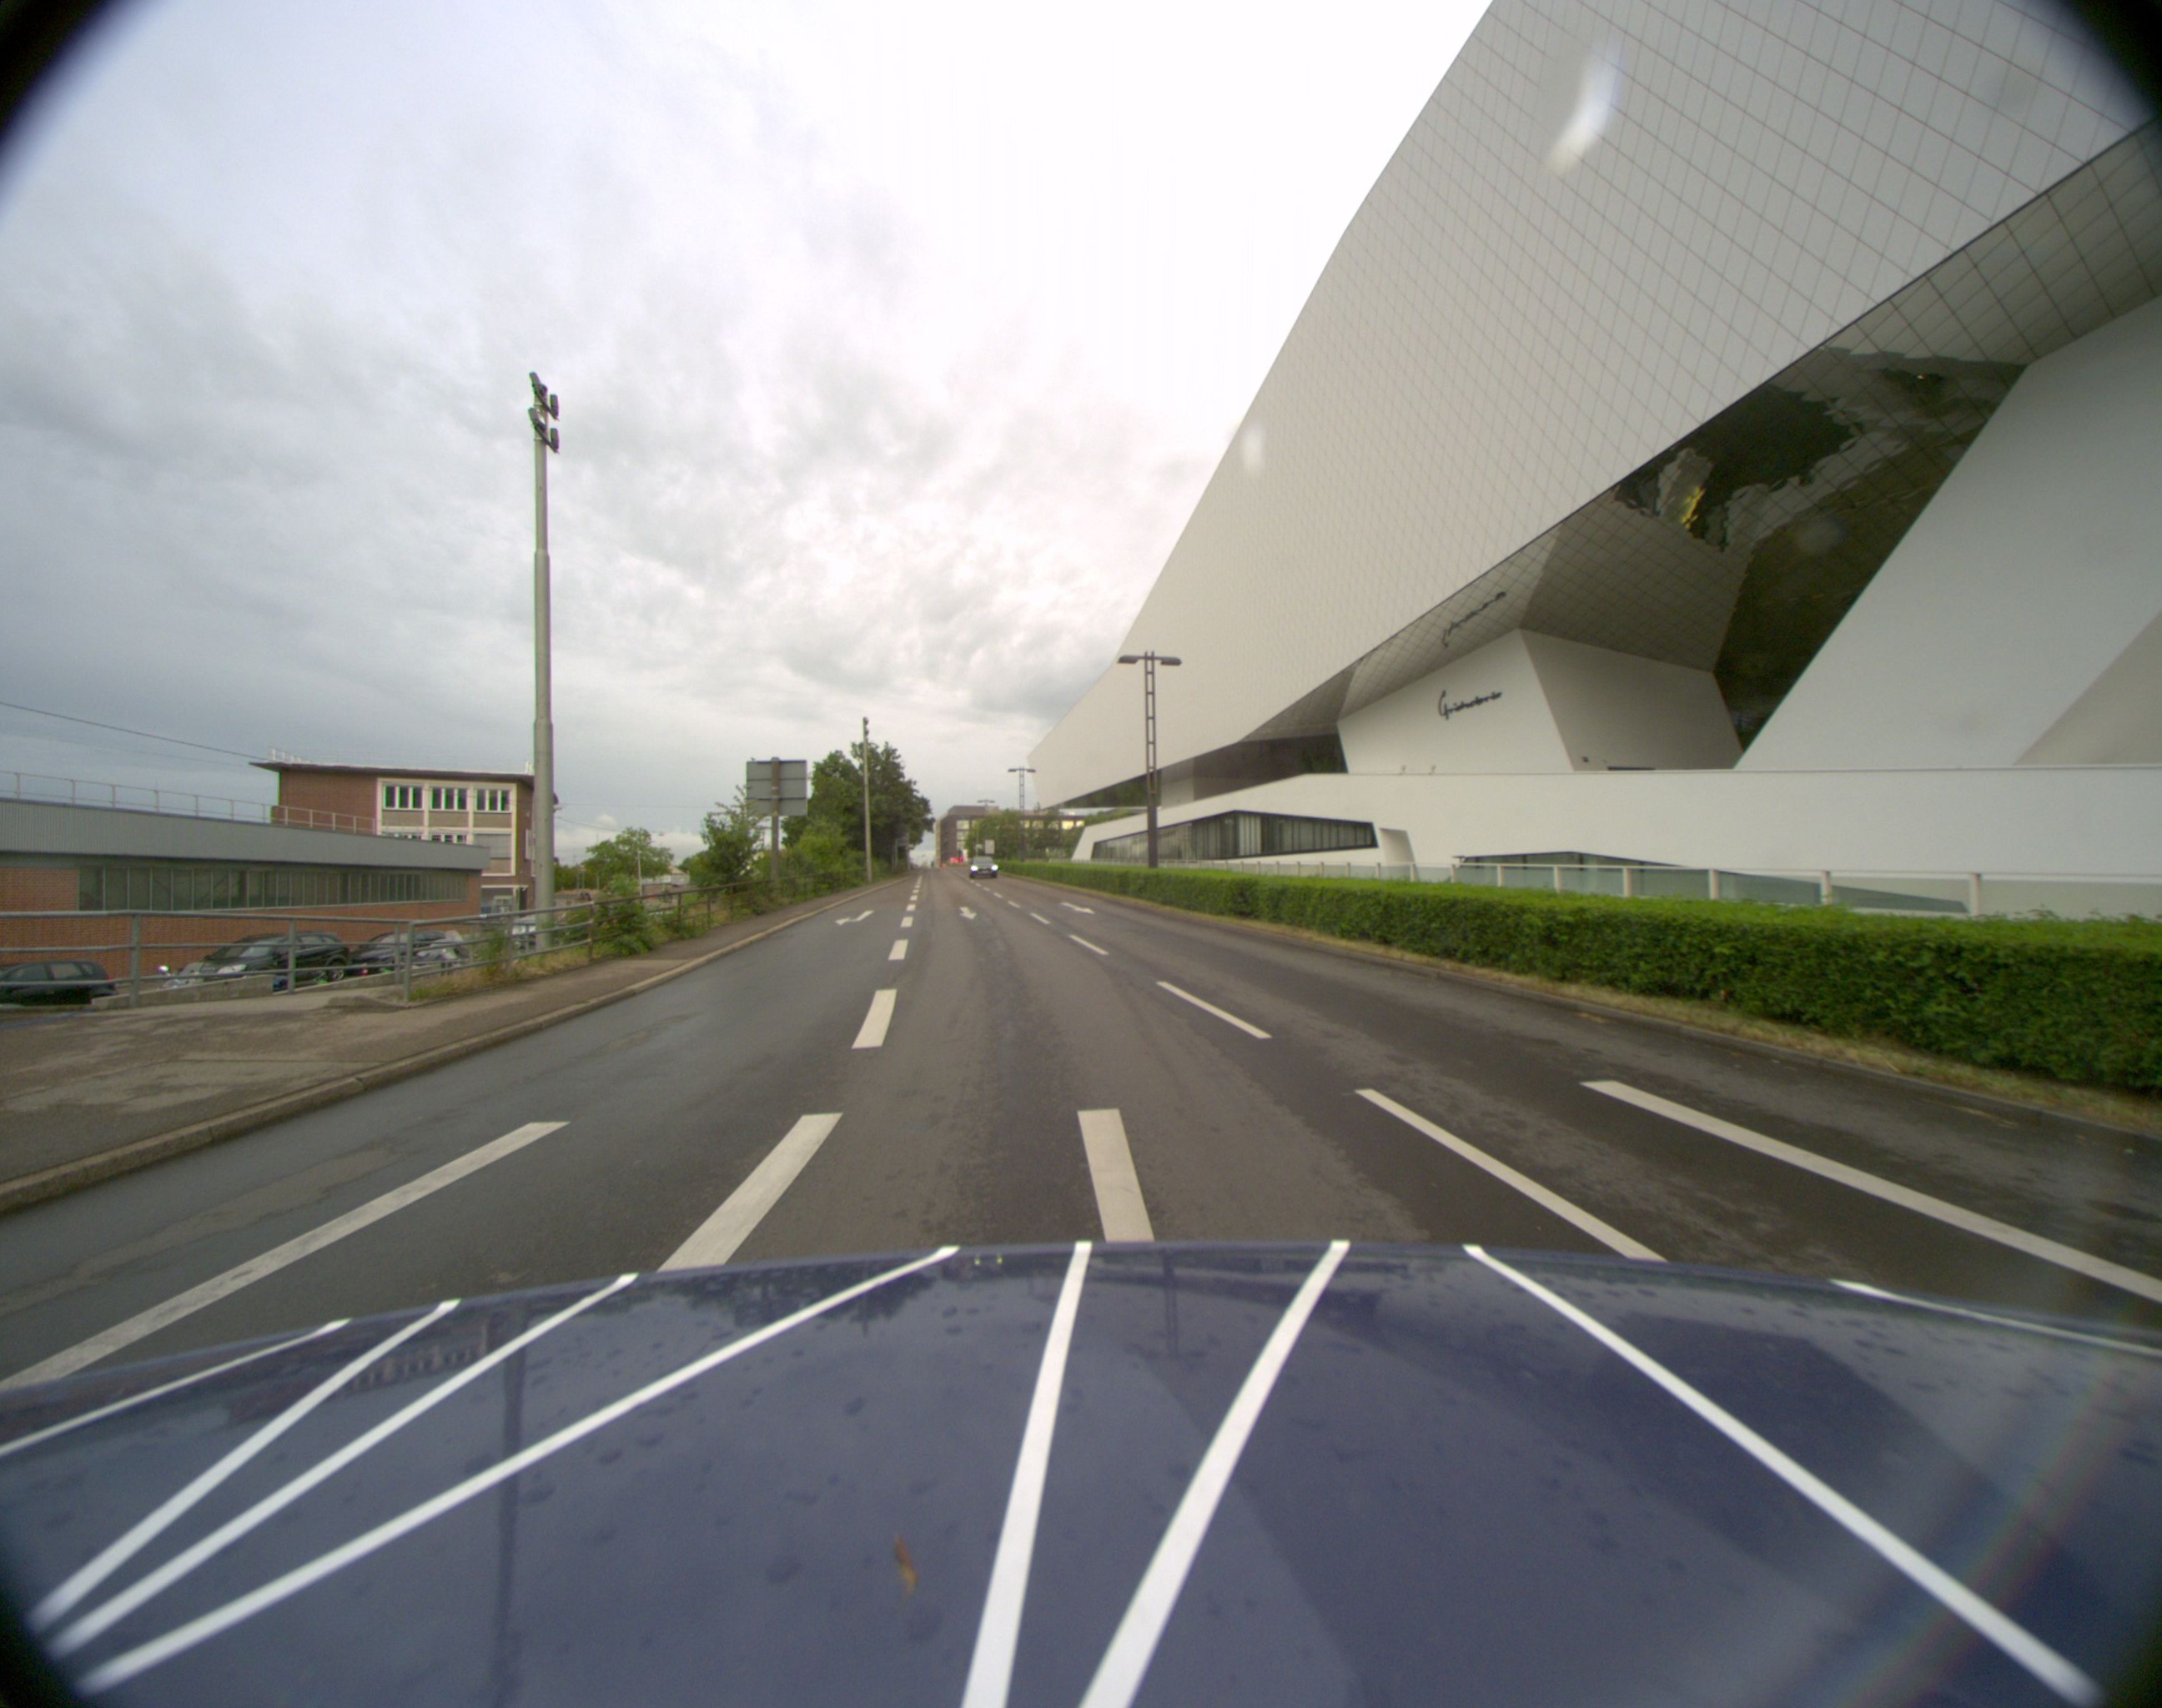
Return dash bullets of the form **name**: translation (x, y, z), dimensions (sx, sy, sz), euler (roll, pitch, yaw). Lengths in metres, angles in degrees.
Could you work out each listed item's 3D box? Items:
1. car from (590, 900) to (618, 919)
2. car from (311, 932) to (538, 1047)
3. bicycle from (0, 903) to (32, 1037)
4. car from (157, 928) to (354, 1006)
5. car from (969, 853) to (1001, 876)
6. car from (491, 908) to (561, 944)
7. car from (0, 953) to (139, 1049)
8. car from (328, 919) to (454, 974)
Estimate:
- **car**: translation (-41.681, 4.850, 66.502), dimensions (1.670, 1.387, 3.992), euler (-2, 0, -27)
- **car**: translation (-12.764, 2.538, 15.131), dimensions (1.704, 1.546, 3.853), euler (-1, 0, -11)
- **bicycle**: translation (-10.525, 1.048, 6.383), dimensions (1.935, 1.171, 0.598), euler (0, 1, -26)
- **car**: translation (-24.280, 3.254, 22.630), dimensions (1.638, 1.621, 4.425), euler (-1, 0, -11)
- **car**: translation (-7.006, 0.718, 55.198), dimensions (1.843, 1.574, 4.284), euler (-1, 0, -13)
- **car**: translation (-30.243, 3.873, 41.507), dimensions (1.704, 1.546, 3.852), euler (-1, 0, -14)
- **car**: translation (-23.134, 3.202, 16.167), dimensions (1.704, 1.618, 3.927), euler (-1, 0, -11)
- **car**: translation (-25.513, 3.357, 28.268), dimensions (1.704, 1.546, 3.853), euler (-1, 0, -11)
